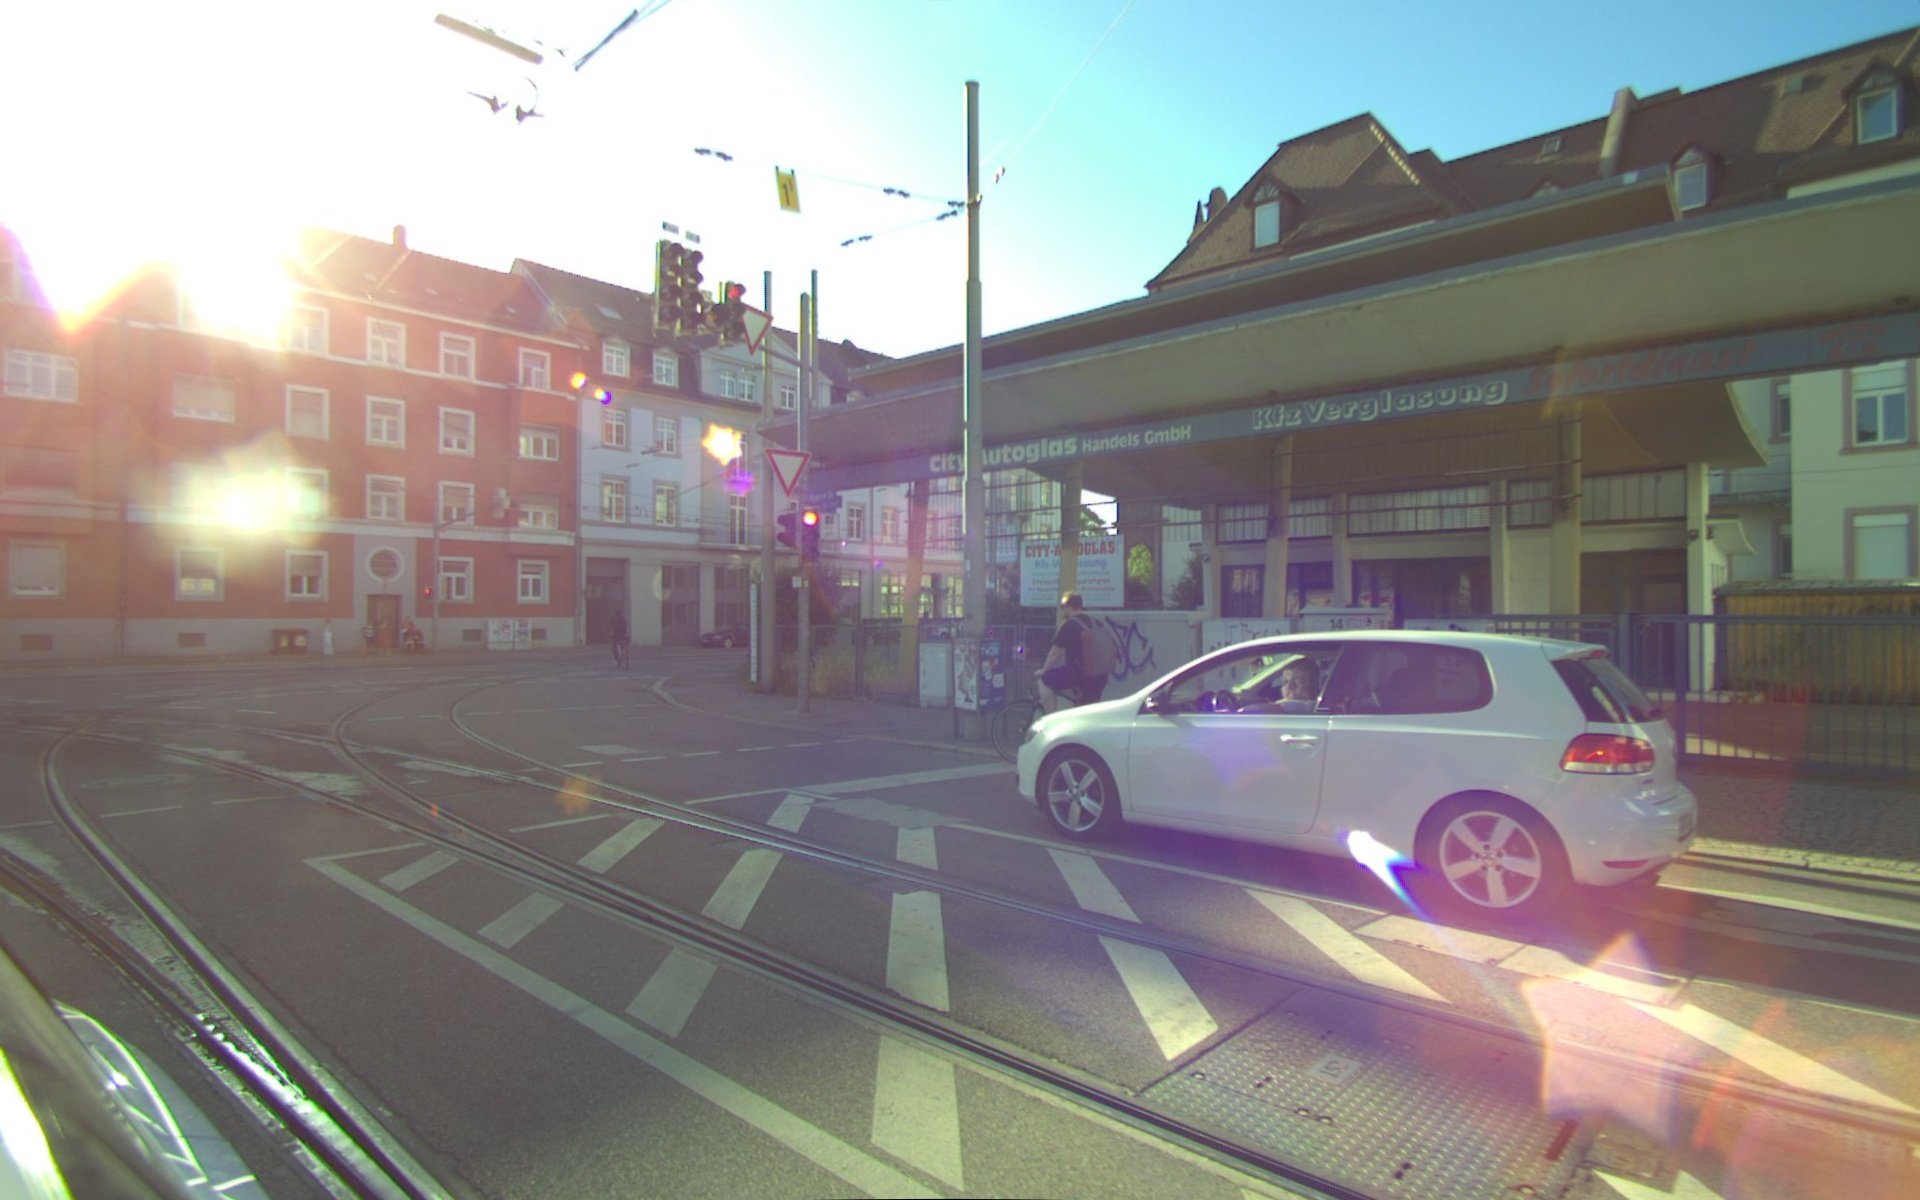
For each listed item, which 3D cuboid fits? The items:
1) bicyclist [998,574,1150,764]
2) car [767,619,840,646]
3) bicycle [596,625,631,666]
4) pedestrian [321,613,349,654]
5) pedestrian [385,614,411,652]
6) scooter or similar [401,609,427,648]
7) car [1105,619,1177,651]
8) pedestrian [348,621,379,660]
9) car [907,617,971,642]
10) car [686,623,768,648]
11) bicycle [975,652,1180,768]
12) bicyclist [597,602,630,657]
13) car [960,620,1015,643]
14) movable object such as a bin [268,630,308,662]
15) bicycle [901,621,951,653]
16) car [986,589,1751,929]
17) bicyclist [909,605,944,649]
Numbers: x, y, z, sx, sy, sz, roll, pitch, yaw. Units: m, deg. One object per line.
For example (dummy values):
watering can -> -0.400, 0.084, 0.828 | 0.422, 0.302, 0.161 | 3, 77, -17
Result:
bicyclist -> 1.161, 0.670, 10.335 | 1.251, 1.800, 0.900 | -1, -2, 38
car -> -8.912, 1.832, 57.861 | 1.724, 1.463, 3.945 | -2, -2, 41
bicycle -> -10.097, 1.295, 29.463 | 0.880, 1.134, 2.072 | 0, -1, -21
pedestrian -> -25.789, 1.376, 41.753 | 0.789, 1.645, 0.650 | -1, -1, 20
pedestrian -> -24.301, 1.429, 43.766 | 0.647, 1.645, 0.793 | 0, -1, 9
scooter or similar -> -23.644, 1.238, 43.863 | 0.647, 1.645, 0.793 | 0, -1, 9
car -> 9.467, 1.779, 52.830 | 1.953, 1.540, 4.034 | -1, -1, 40
pedestrian -> -25.106, 1.698, 42.588 | 0.820, 1.645, 0.794 | 0, -1, 4
car -> -1.350, 1.929, 66.611 | 1.841, 1.564, 4.215 | -2, -2, 41
car -> -12.266, 1.864, 53.466 | 1.724, 1.242, 3.945 | -2, -2, 41
bicycle -> 1.152, 1.062, 10.294 | 2.048, 1.025, 0.717 | -2, -2, 43
bicyclist -> -10.059, 0.852, 29.369 | 0.864, 1.538, 1.054 | 0, -2, -22
car -> 1.933, 2.165, 70.472 | 1.724, 1.564, 3.945 | -2, -2, 41
movable object such as a bin -> -27.140, 1.832, 40.872 | 1.214, 1.259, 0.874 | 1, -2, -42
bicycle -> -1.201, 1.296, 36.046 | 0.773, 1.094, 1.846 | -1, -1, 40
car -> 2.313, 0.753, 6.483 | 4.190, 1.469, 1.771 | -1, -3, 43
bicyclist -> -1.192, 0.945, 36.071 | 0.837, 1.536, 0.979 | -1, -2, 45
